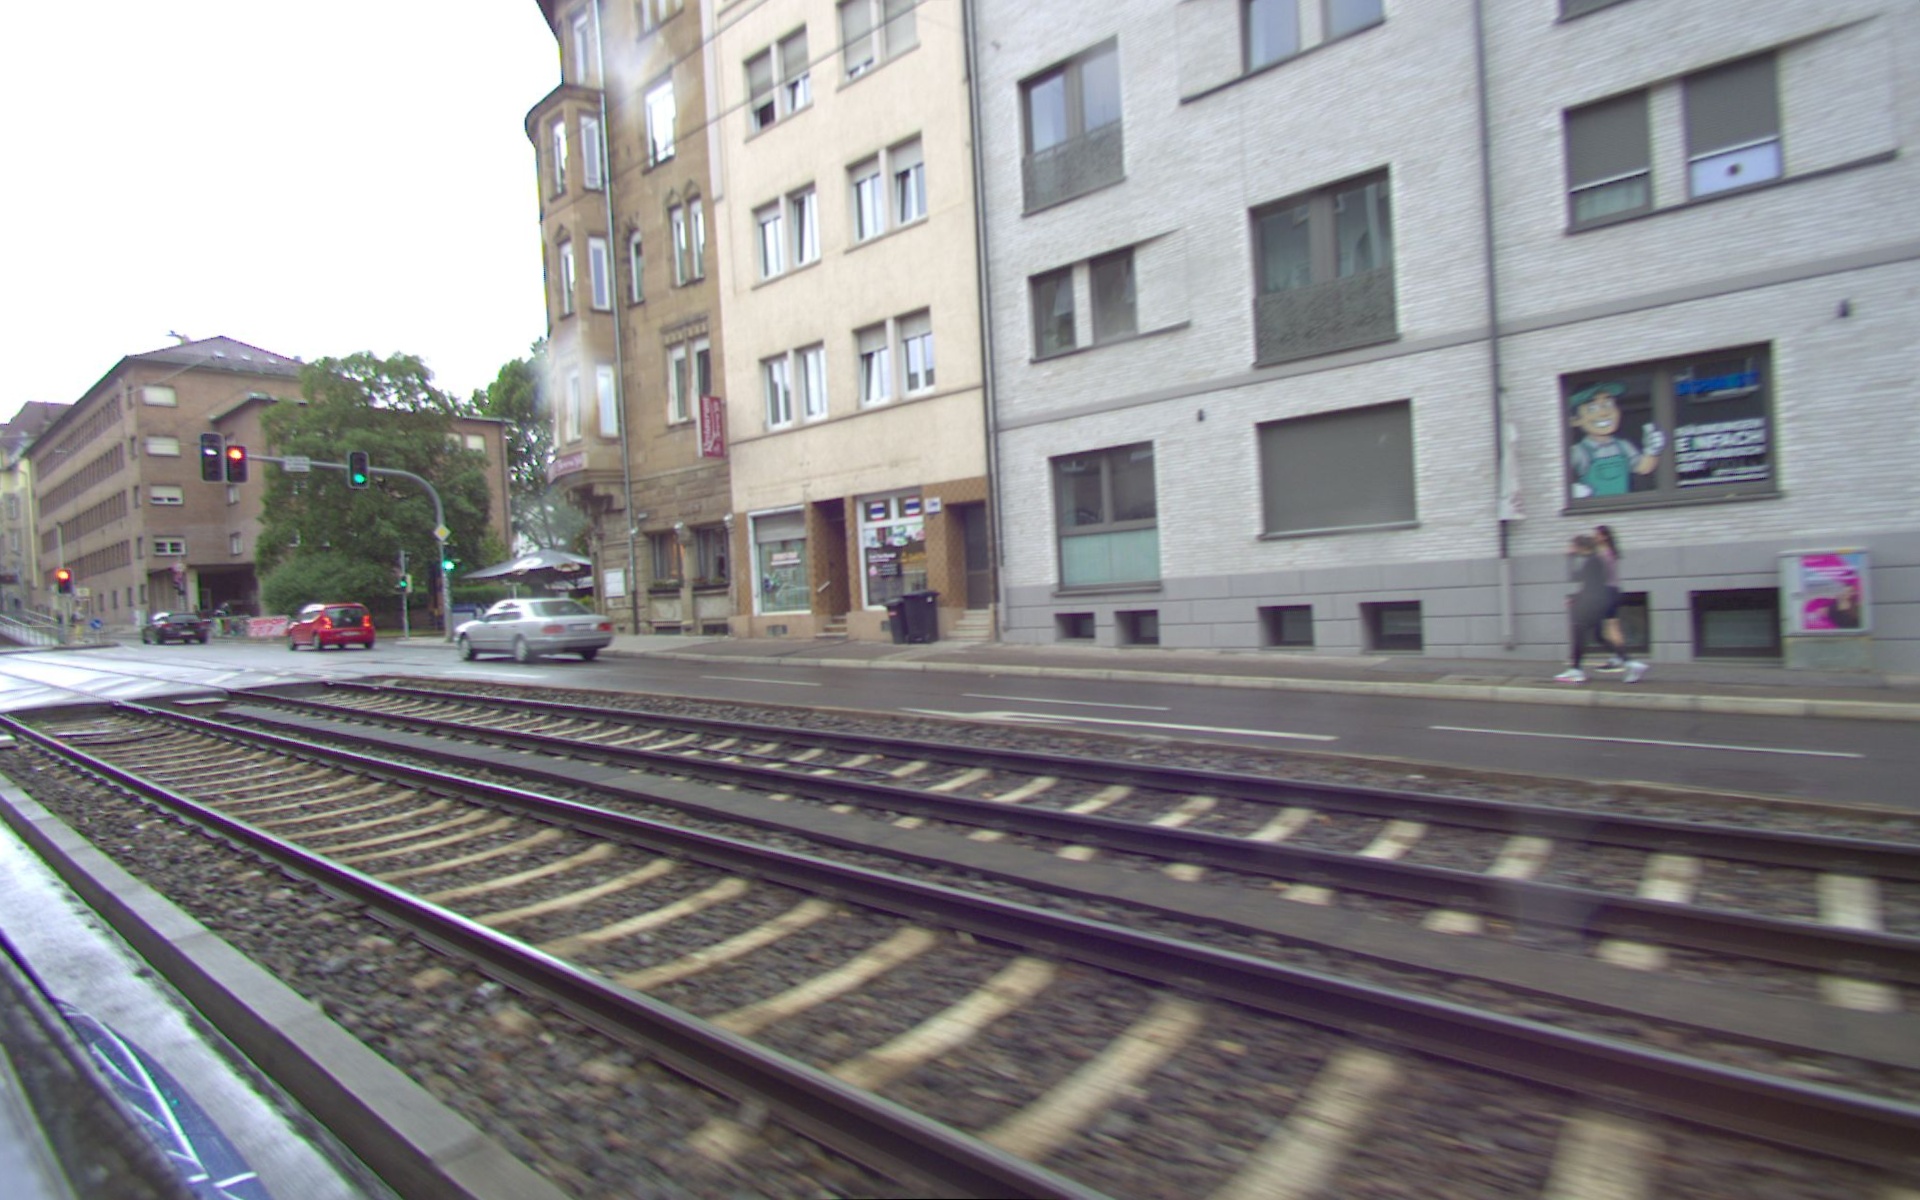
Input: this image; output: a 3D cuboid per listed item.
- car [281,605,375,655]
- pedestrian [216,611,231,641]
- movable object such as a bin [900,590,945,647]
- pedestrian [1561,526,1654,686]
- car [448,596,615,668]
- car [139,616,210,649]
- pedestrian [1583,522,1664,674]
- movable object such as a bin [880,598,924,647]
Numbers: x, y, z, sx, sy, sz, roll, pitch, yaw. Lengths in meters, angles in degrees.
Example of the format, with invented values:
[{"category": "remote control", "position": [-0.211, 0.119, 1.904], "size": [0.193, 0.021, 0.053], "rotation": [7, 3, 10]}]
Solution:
[{"category": "car", "position": [-20.238, 0.948, 32.380], "size": [3.386, 1.461, 1.610], "rotation": [-1, 0, 41]}, {"category": "pedestrian", "position": [-42.614, 1.508, 58.547], "size": [0.464, 1.760, 0.616], "rotation": [-2, -2, 37]}, {"category": "movable object such as a bin", "position": [-0.760, 0.371, 20.458], "size": [0.563, 1.088, 0.623], "rotation": [-2, 5, 40]}, {"category": "pedestrian", "position": [7.351, 0.054, 11.493], "size": [0.746, 1.731, 0.595], "rotation": [-1, 3, 43]}, {"category": "car", "position": [-9.969, 0.712, 23.369], "size": [4.641, 1.472, 1.695], "rotation": [-1, 0, 42]}, {"category": "car", "position": [-34.922, 1.435, 44.959], "size": [3.943, 1.346, 1.759], "rotation": [-1, 0, 41]}, {"category": "pedestrian", "position": [7.881, -0.036, 12.021], "size": [0.658, 1.731, 0.595], "rotation": [-1, 3, 43]}, {"category": "movable object such as a bin", "position": [-1.199, 0.471, 20.950], "size": [0.563, 0.934, 0.623], "rotation": [-2, 5, 40]}]
